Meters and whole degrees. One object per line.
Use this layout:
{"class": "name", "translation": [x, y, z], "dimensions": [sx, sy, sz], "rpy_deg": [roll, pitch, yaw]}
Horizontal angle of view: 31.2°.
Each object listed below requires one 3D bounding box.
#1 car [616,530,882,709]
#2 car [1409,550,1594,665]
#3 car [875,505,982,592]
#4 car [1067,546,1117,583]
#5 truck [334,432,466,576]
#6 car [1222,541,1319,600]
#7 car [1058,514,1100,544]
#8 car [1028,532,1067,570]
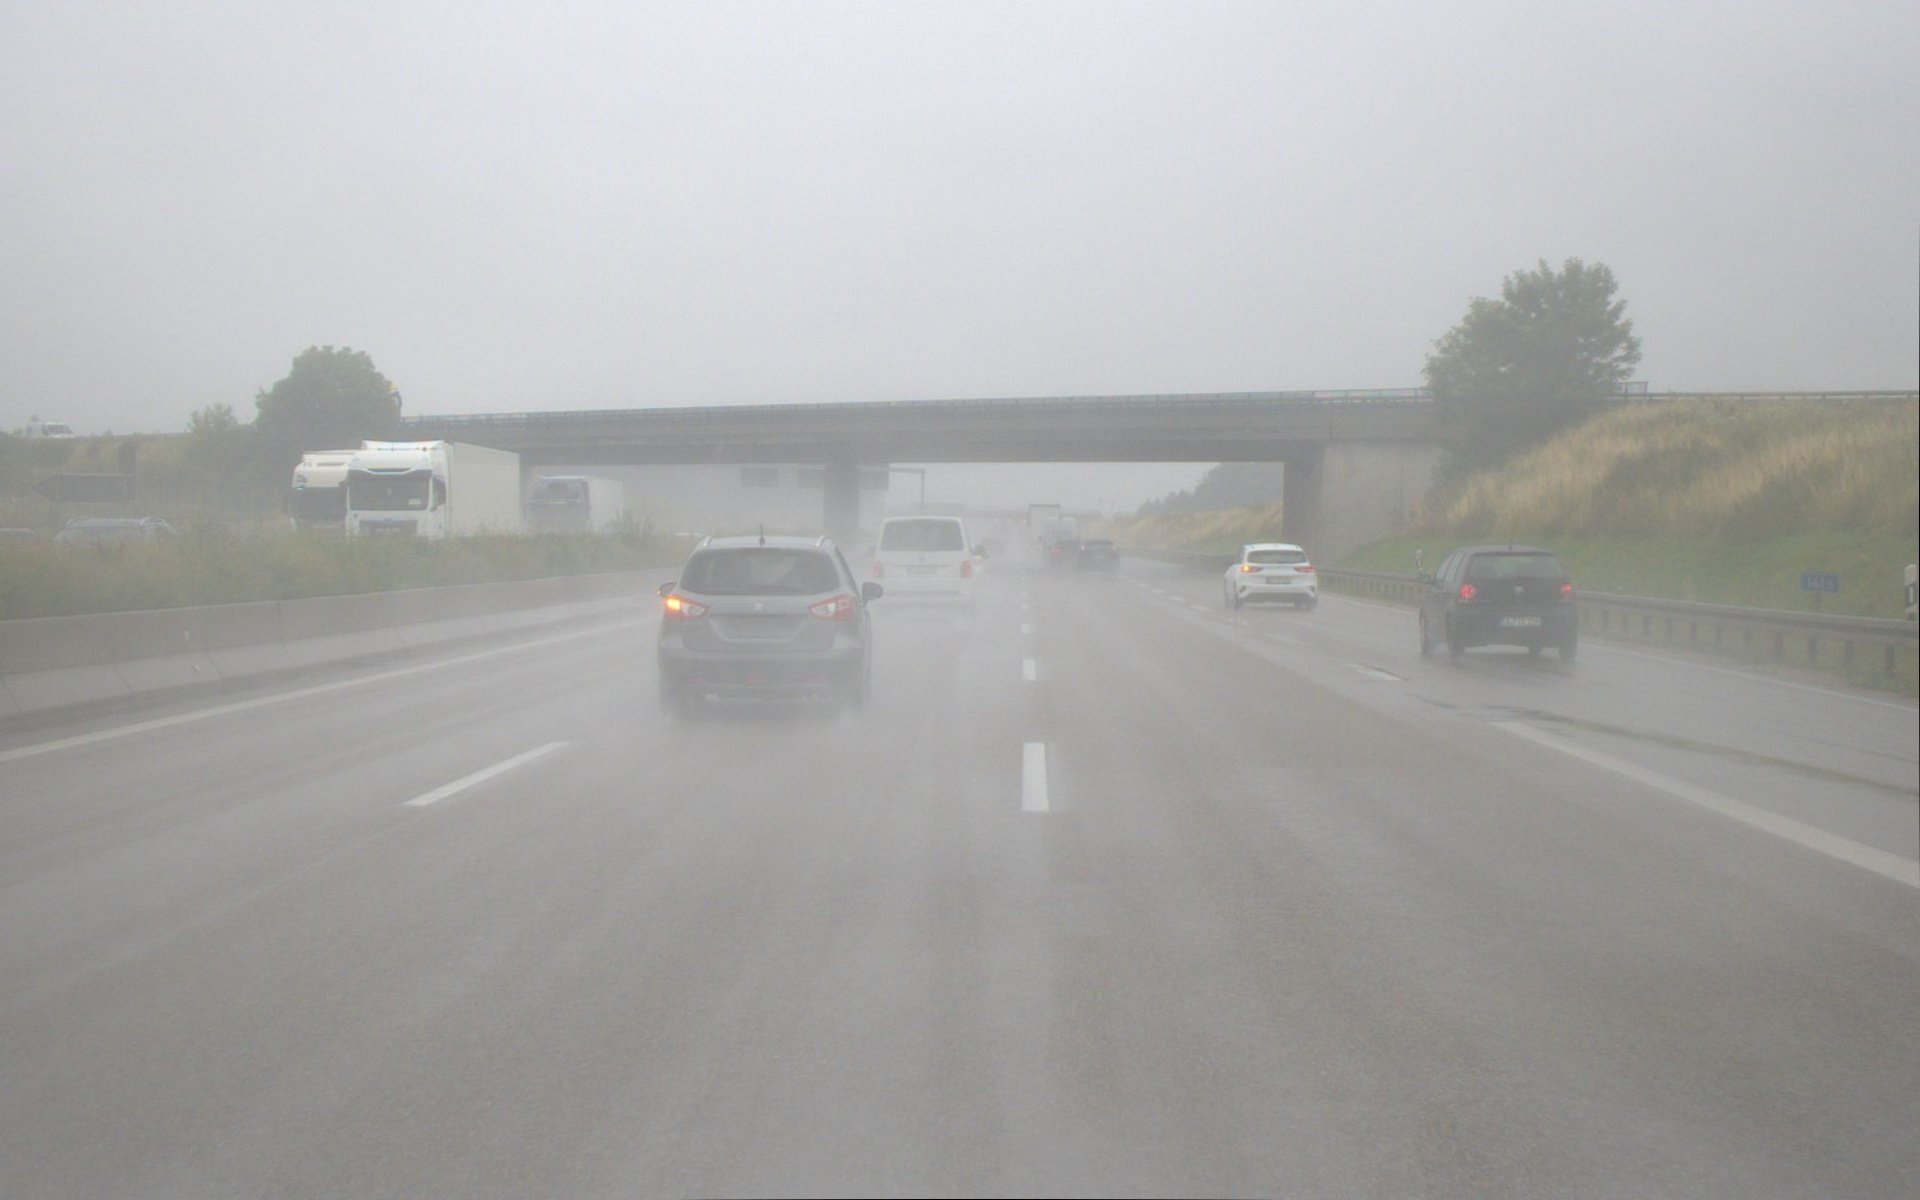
{"class": "car", "translation": [-1.829, 0.130, 31.319], "dimensions": [1.846, 1.508, 4.756], "rpy_deg": [0, 1, 4]}
{"class": "car", "translation": [7.003, 0.070, 44.787], "dimensions": [1.731, 1.416, 3.658], "rpy_deg": [0, 1, -2]}
{"class": "car", "translation": [-0.563, -0.956, 64.746], "dimensions": [1.897, 1.580, 4.000], "rpy_deg": [0, 1, 1]}
{"class": "car", "translation": [5.413, -1.465, 141.236], "dimensions": [1.801, 1.503, 4.000], "rpy_deg": [0, 1, -1]}
{"class": "truck", "translation": [-15.412, -2.636, 94.872], "dimensions": [2.759, 3.834, 4.819], "rpy_deg": [1, 1, 1]}
{"class": "car", "translation": [6.844, -0.656, 76.141], "dimensions": [1.994, 1.262, 4.000], "rpy_deg": [0, 1, 3]}
{"class": "car", "translation": [5.835, -3.489, 169.325], "dimensions": [1.993, 1.459, 4.000], "rpy_deg": [0, 1, 1]}
{"class": "car", "translation": [4.892, -2.727, 192.498], "dimensions": [1.993, 2.094, 4.000], "rpy_deg": [0, 1, -2]}
